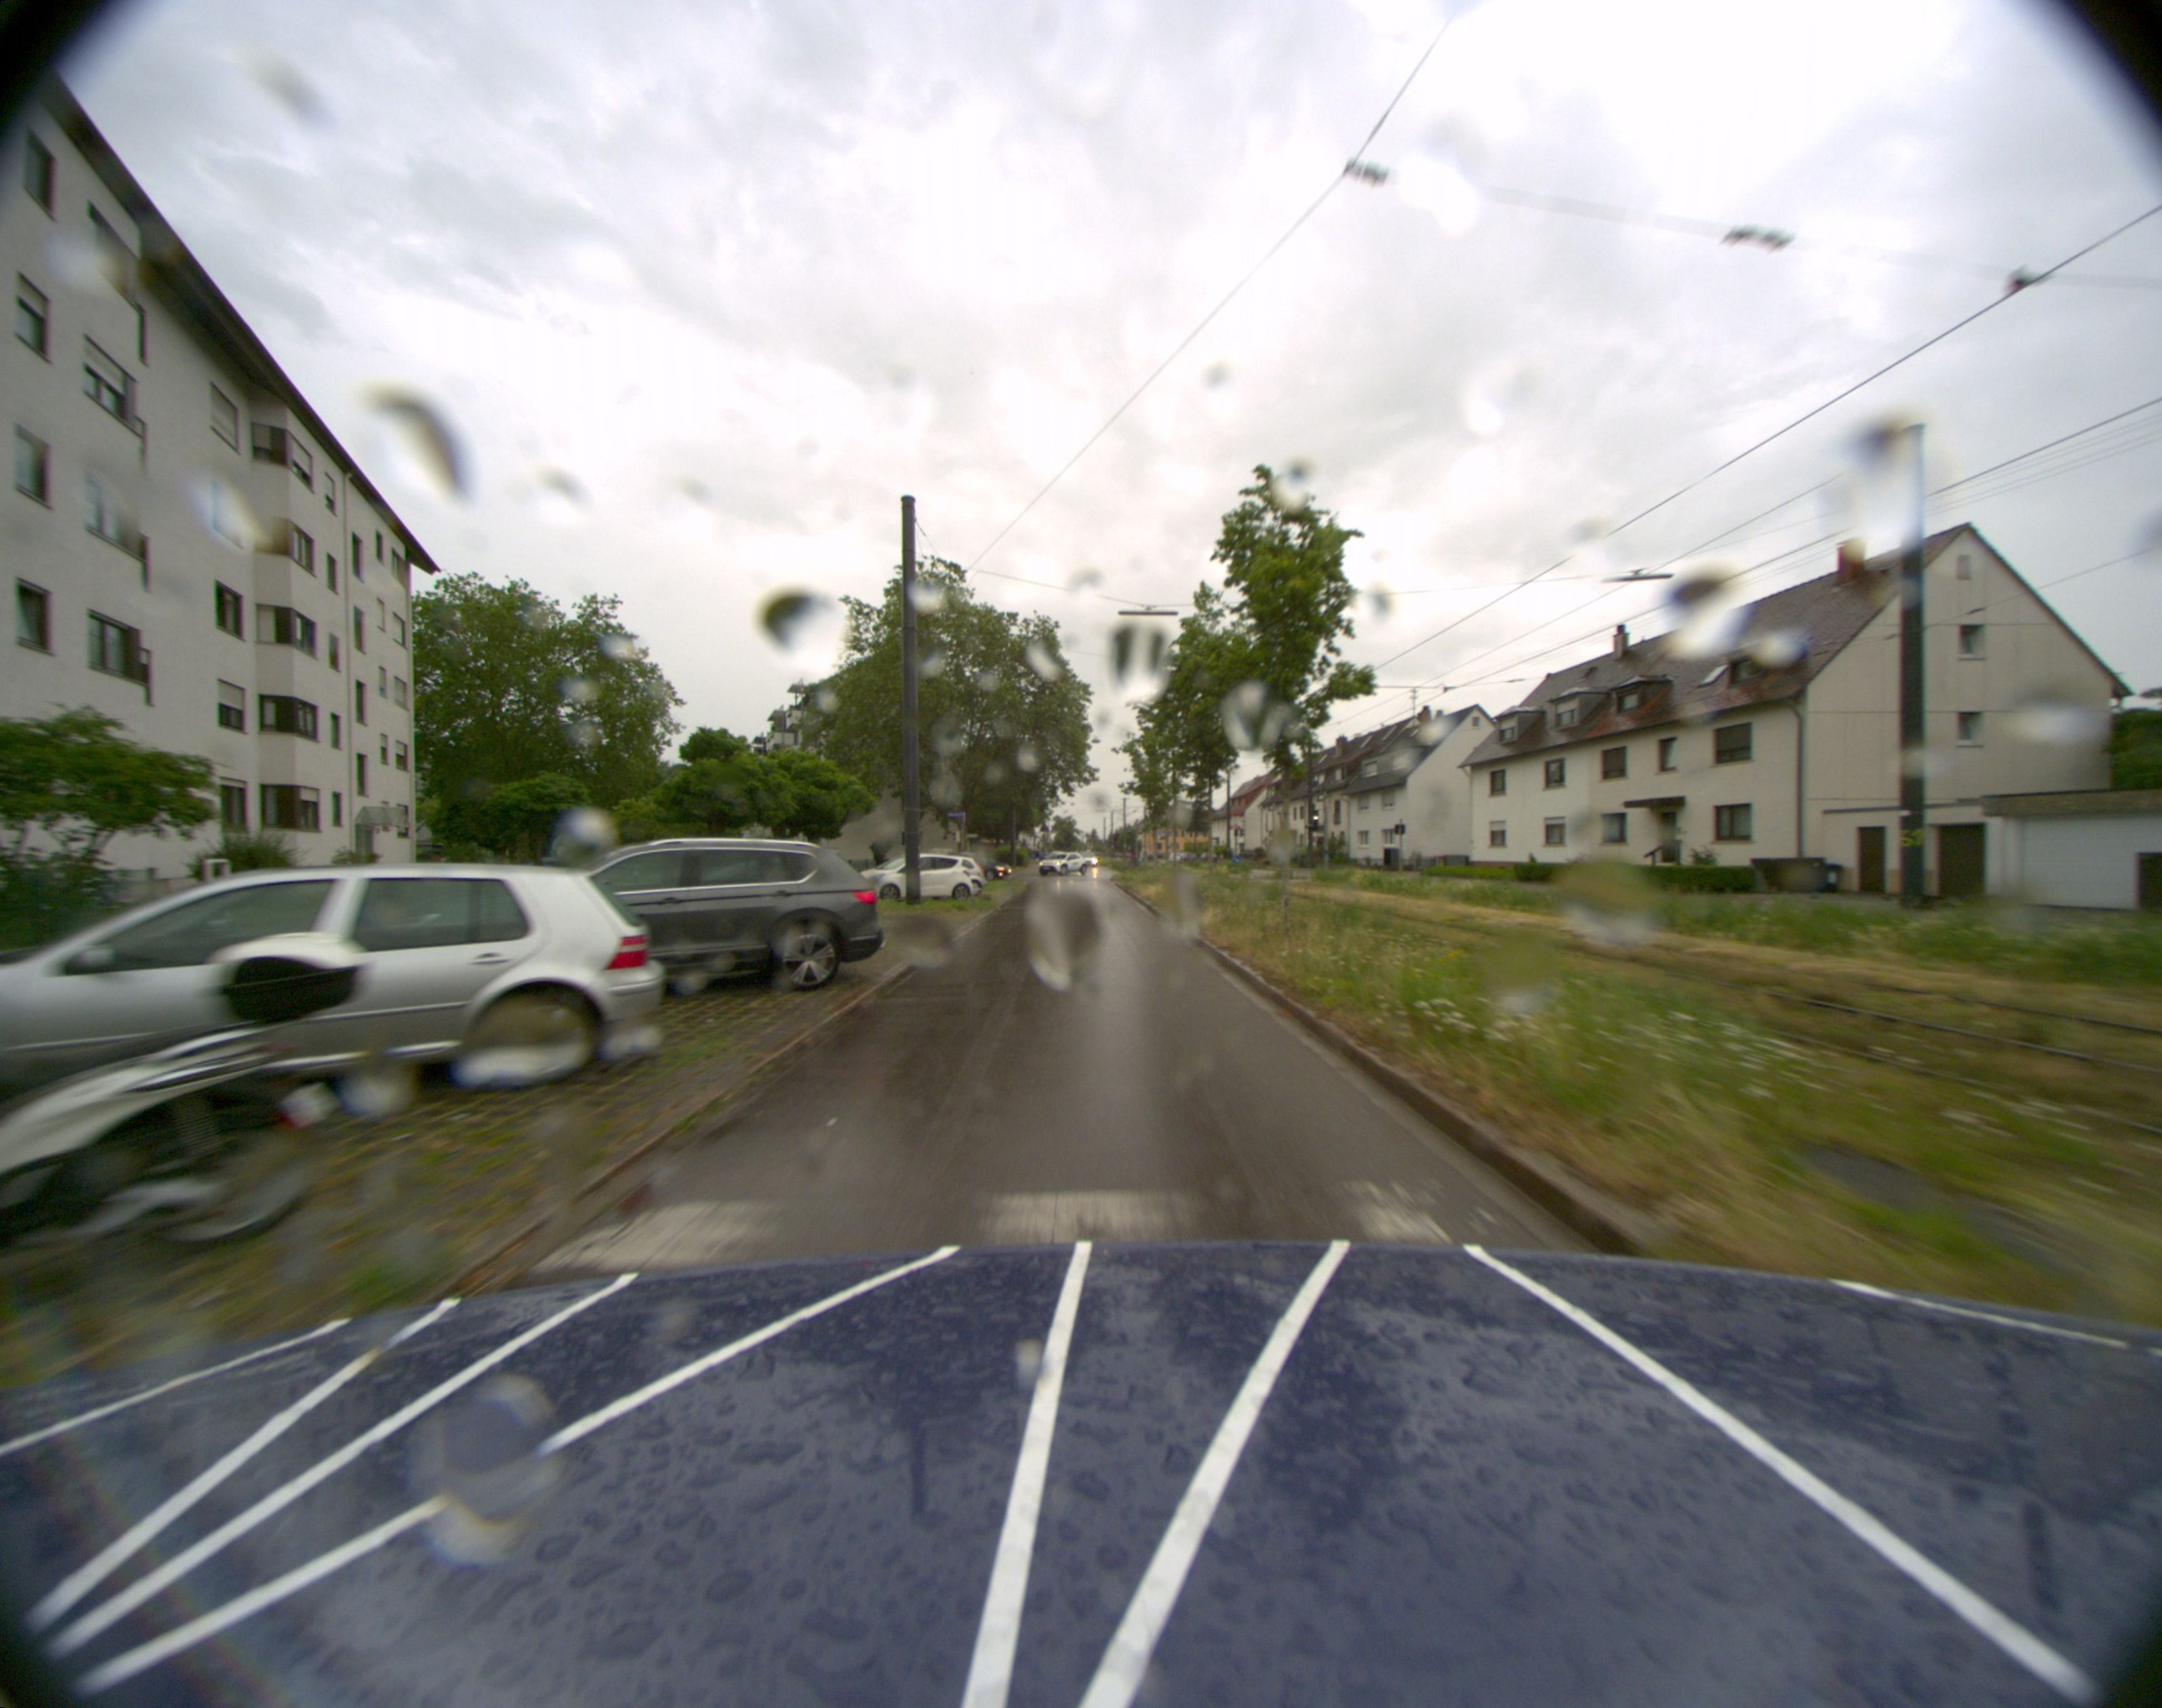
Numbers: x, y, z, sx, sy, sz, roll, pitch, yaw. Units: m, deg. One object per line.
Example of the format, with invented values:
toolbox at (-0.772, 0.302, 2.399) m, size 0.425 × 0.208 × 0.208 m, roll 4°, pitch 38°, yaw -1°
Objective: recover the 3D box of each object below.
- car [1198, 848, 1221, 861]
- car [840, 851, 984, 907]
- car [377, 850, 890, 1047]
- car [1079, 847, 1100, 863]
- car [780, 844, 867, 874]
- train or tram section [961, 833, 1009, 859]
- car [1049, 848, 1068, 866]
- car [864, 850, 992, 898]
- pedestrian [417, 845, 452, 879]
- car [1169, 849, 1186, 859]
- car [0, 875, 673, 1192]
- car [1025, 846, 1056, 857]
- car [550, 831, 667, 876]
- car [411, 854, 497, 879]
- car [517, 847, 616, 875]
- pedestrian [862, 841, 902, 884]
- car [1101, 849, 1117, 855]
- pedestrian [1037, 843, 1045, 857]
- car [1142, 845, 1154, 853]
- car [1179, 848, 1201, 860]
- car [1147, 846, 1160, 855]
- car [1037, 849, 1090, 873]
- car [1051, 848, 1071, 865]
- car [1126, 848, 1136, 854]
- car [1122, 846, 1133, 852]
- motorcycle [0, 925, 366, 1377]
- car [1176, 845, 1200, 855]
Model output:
car at (14.461, 0.080, 85.536) m, size 1.777 × 1.418 × 3.936 m, roll 1°, pitch 1°, yaw -1°
car at (-5.181, 0.706, 23.537) m, size 4.008 × 1.500 × 1.700 m, roll 0°, pitch 3°, yaw -39°
car at (-4.513, 0.779, 8.281) m, size 4.357 × 1.641 × 1.853 m, roll 0°, pitch 1°, yaw -32°
car at (0.803, 0.078, 75.464) m, size 1.854 × 1.500 × 4.119 m, roll 1°, pitch 1°, yaw -2°
car at (-14.611, 0.260, 43.221) m, size 4.303 × 1.671 × 1.871 m, roll 0°, pitch 1°, yaw 2°
train or tram section at (-12.414, -1.015, 98.061) m, size 6.381 × 3.320 × 2.763 m, roll 1°, pitch 1°, yaw 45°
car at (-1.925, 0.225, 65.313) m, size 1.562 × 1.510 × 3.998 m, roll 0°, pitch 1°, yaw -2°
car at (-5.350, 0.642, 26.665) m, size 4.008 × 1.500 × 1.779 m, roll 0°, pitch 3°, yaw -36°
pedestrian at (-34.623, 0.425, 40.708) m, size 1.181 × 1.758 × 0.720 m, roll 0°, pitch 1°, yaw -3°
car at (13.837, -0.033, 109.473) m, size 1.715 × 1.432 × 3.998 m, roll 1°, pitch 1°, yaw -3°
car at (-4.978, 0.879, 4.701) m, size 4.133 × 1.414 × 1.734 m, roll 1°, pitch 0°, yaw -36°
car at (-5.712, -0.317, 106.065) m, size 4.007 × 1.518 × 1.715 m, roll 0°, pitch 1°, yaw -34°
car at (-30.198, -0.032, 48.674) m, size 6.133 × 2.763 × 2.187 m, roll 0°, pitch 1°, yaw 2°
car at (-39.677, 0.756, 48.119) m, size 4.002 × 1.497 × 1.740 m, roll 0°, pitch 1°, yaw 2°
car at (-29.037, 0.364, 42.959) m, size 4.303 × 1.497 × 1.937 m, roll 0°, pitch 1°, yaw 2°
pedestrian at (-8.413, 0.348, 32.159) m, size 1.101 × 1.803 × 1.434 m, roll 0°, pitch 1°, yaw 10°
car at (7.473, -0.468, 202.633) m, size 3.999 × 1.638 × 1.893 m, roll 1°, pitch 1°, yaw -5°
pedestrian at (-5.063, -0.469, 95.411) m, size 0.865 × 1.764 × 1.018 m, roll 0°, pitch 1°, yaw -10°
car at (13.204, -1.020, 150.745) m, size 1.998 × 1.648 × 3.999 m, roll -1°, pitch 1°, yaw 0°
car at (14.051, 0.007, 98.210) m, size 1.892 × 1.523 × 4.755 m, roll 1°, pitch 1°, yaw -3°
car at (13.106, -0.682, 137.160) m, size 1.912 × 1.581 × 3.999 m, roll 0°, pitch 1°, yaw -2°
car at (-1.132, 0.441, 51.061) m, size 1.850 × 1.500 × 4.127 m, roll -1°, pitch 1°, yaw 26°
car at (-2.017, 0.228, 76.049) m, size 1.905 × 1.566 × 4.110 m, roll 0°, pitch 1°, yaw -3°
car at (11.422, -0.712, 174.954) m, size 1.886 × 1.423 × 4.076 m, roll 0°, pitch 1°, yaw -3°
car at (11.289, -1.229, 183.669) m, size 2.097 × 1.423 × 4.076 m, roll 0°, pitch 1°, yaw -3°
motorcycle at (-3.703, 0.976, 2.579) m, size 1.783 × 1.329 × 0.687 m, roll 0°, pitch 1°, yaw -36°
car at (19.292, -0.742, 137.110) m, size 3.997 × 1.586 × 1.913 m, roll -1°, pitch 1°, yaw 0°
